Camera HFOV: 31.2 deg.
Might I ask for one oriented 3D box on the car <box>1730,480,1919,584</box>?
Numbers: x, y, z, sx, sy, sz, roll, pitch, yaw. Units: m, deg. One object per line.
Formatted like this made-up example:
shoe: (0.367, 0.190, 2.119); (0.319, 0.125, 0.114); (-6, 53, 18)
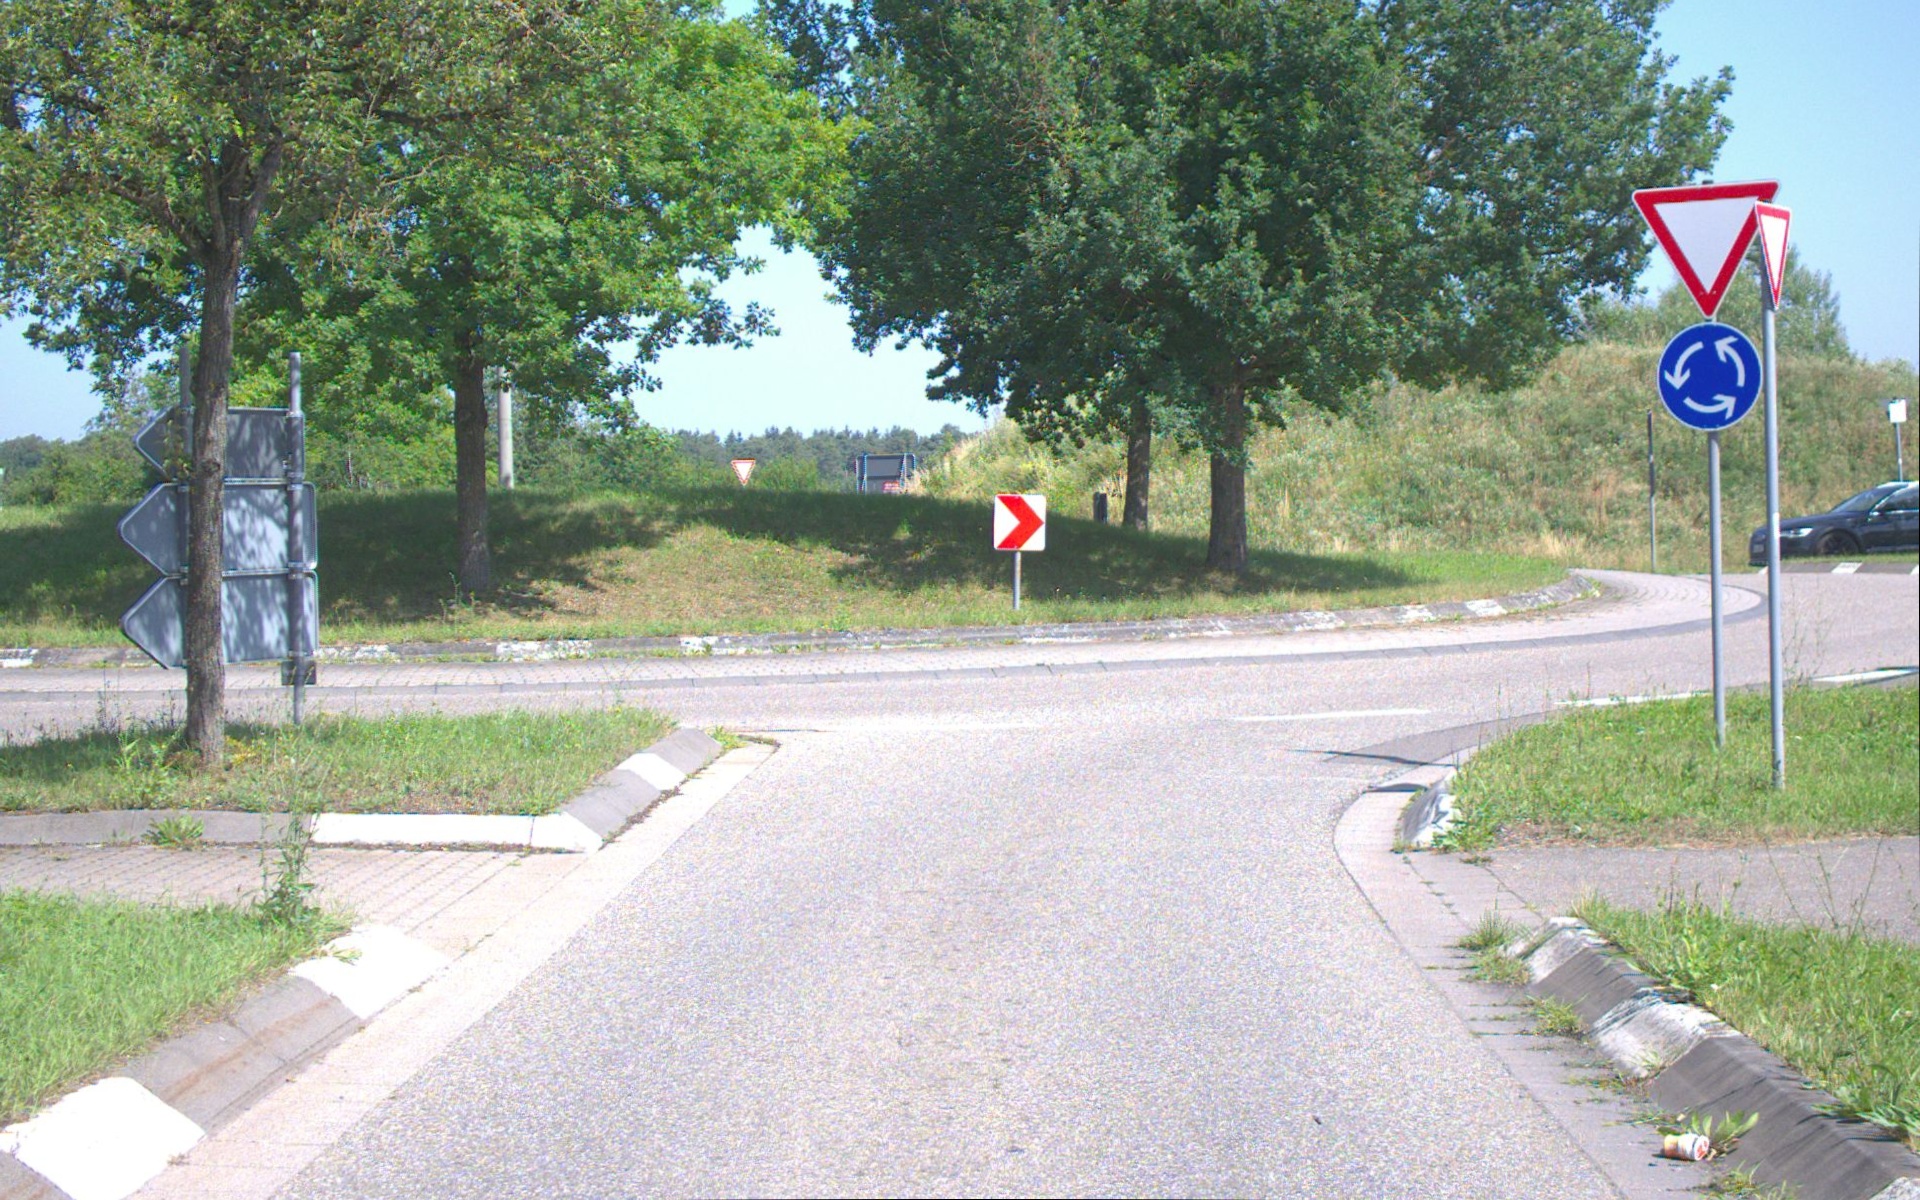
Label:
car: (14.890, -1.111, 54.667); (4.758, 1.587, 2.001); (-1, 2, -11)
